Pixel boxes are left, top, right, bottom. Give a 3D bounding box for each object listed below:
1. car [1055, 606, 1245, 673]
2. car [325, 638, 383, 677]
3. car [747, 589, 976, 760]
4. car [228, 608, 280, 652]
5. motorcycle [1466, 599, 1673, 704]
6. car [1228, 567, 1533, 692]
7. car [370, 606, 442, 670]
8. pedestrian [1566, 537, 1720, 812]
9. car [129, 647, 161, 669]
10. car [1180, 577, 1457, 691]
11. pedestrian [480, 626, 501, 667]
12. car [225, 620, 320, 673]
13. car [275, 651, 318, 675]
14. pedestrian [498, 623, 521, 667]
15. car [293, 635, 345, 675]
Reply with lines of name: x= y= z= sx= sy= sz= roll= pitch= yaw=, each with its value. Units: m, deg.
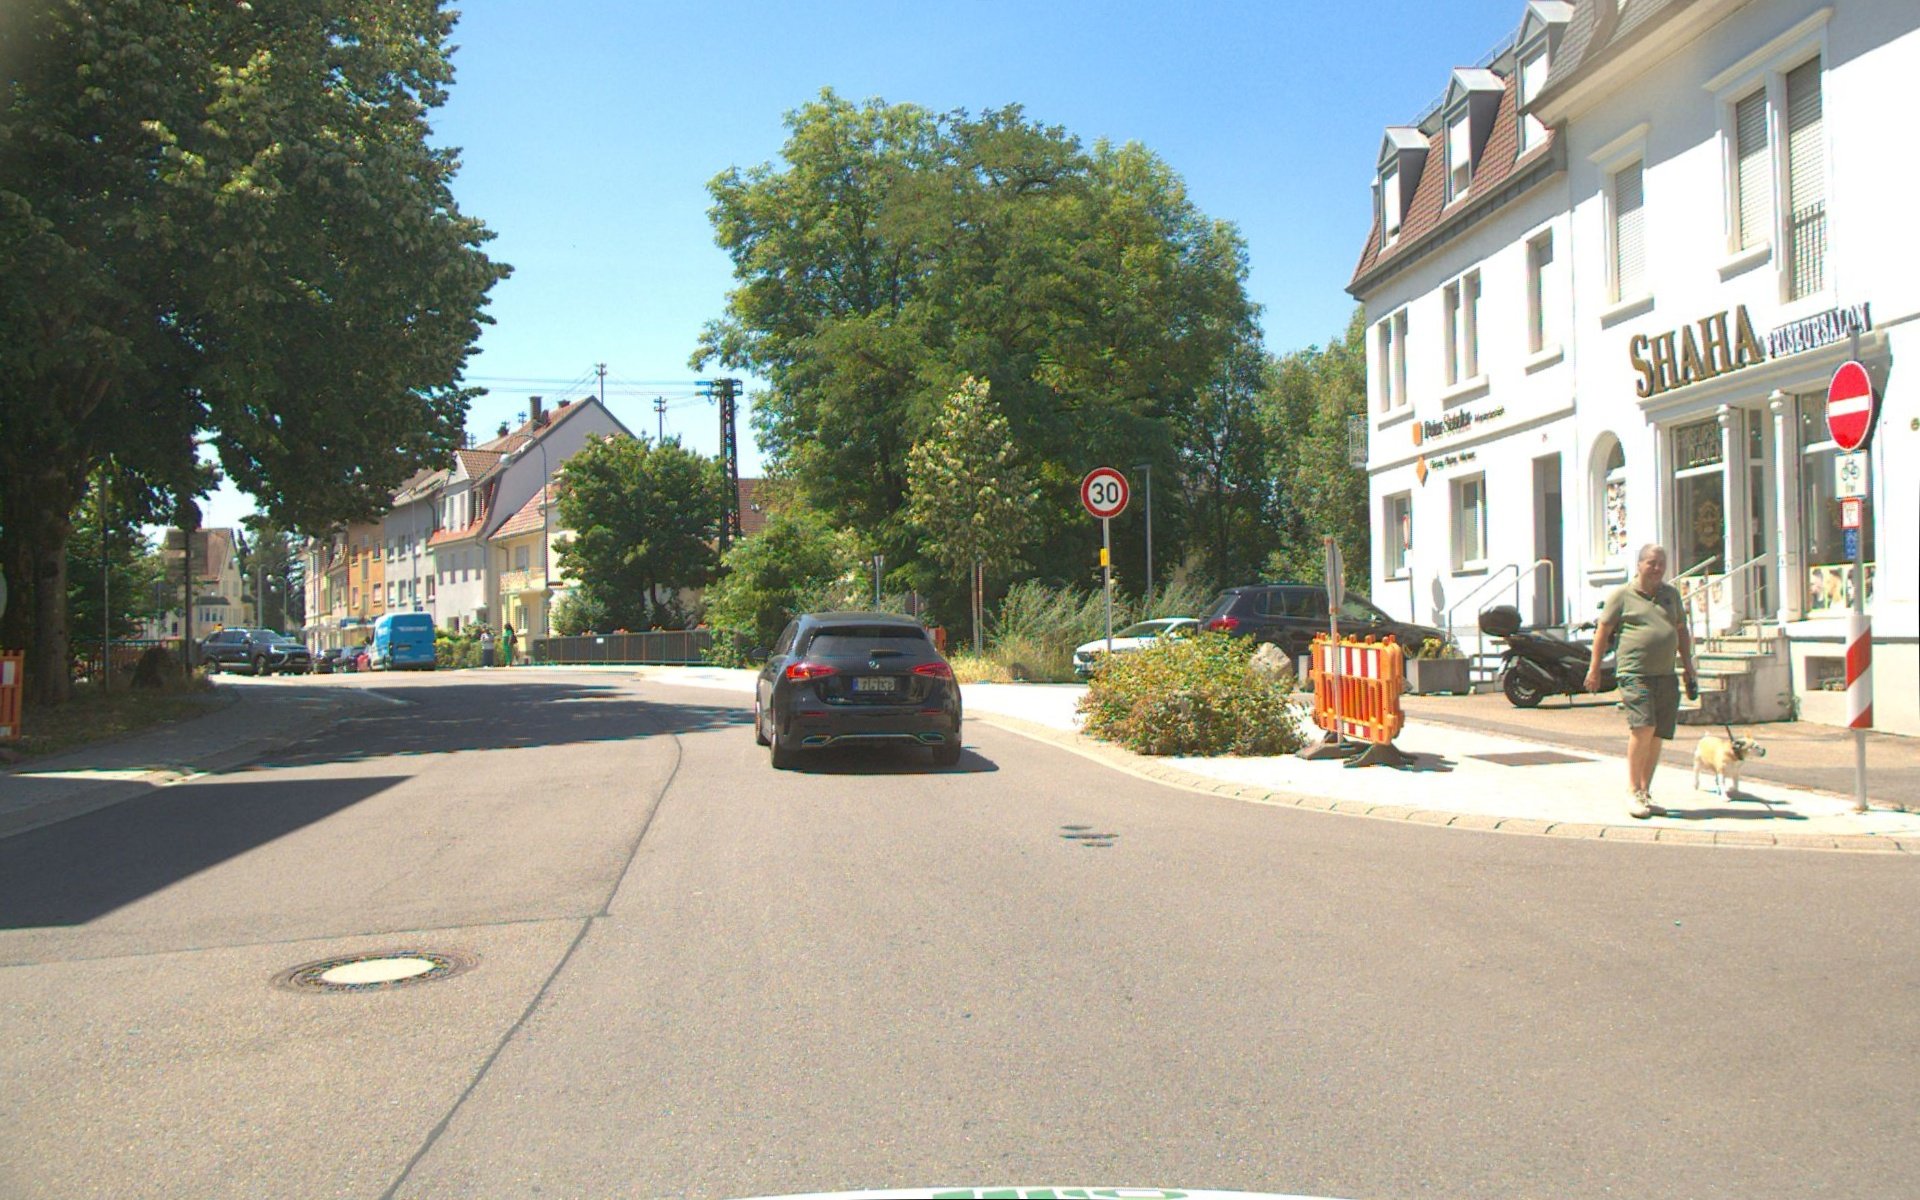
car: x=4.212 y=0.870 z=36.358 sx=4.164 sy=1.373 sz=1.833 roll=2 pitch=0 yaw=-41
car: x=-29.059 y=2.727 z=79.273 sx=1.972 sy=1.776 sz=4.285 roll=0 pitch=-1 yaw=-30
car: x=-1.113 y=0.771 z=16.618 sx=1.795 sy=1.467 sz=3.989 roll=-1 pitch=-3 yaw=-11
car: x=-39.555 y=1.694 z=92.632 sx=2.220 sy=2.384 sz=4.805 roll=0 pitch=-1 yaw=-29
motorcycle: x=7.743 y=0.647 z=21.074 sx=2.330 sy=1.298 sz=0.855 roll=0 pitch=-1 yaw=-5
car: x=6.132 y=0.452 z=24.393 sx=3.996 sy=1.746 sz=1.854 roll=0 pitch=-2 yaw=-6
car: x=-23.363 y=1.613 z=69.642 sx=2.109 sy=2.586 sz=4.604 roll=0 pitch=-2 yaw=-28
pedestrian: x=4.729 y=0.497 z=11.502 sx=0.730 sy=1.828 sz=0.844 roll=-1 pitch=0 yaw=3
car: x=-62.175 y=4.426 z=126.114 sx=1.972 sy=1.689 sz=3.961 roll=2 pitch=-3 yaw=-29
car: x=5.688 y=0.558 z=26.532 sx=3.996 sy=1.746 sz=1.854 roll=0 pitch=-2 yaw=-6
pedestrian: x=-19.182 y=1.914 z=67.572 sx=0.608 sy=1.641 sz=0.828 roll=0 pitch=-2 yaw=-34
car: x=-24.843 y=1.691 z=59.683 sx=1.733 sy=1.803 sz=4.268 roll=-2 pitch=-1 yaw=-43
car: x=-42.447 y=4.018 z=105.749 sx=1.972 sy=1.416 sz=4.285 roll=0 pitch=-1 yaw=-30
pedestrian: x=-18.238 y=1.816 z=66.949 sx=0.690 sy=1.772 sz=0.658 roll=-3 pitch=-2 yaw=43
car: x=-33.562 y=2.849 z=86.573 sx=1.972 sy=2.049 sz=3.960 roll=0 pitch=-1 yaw=-30
